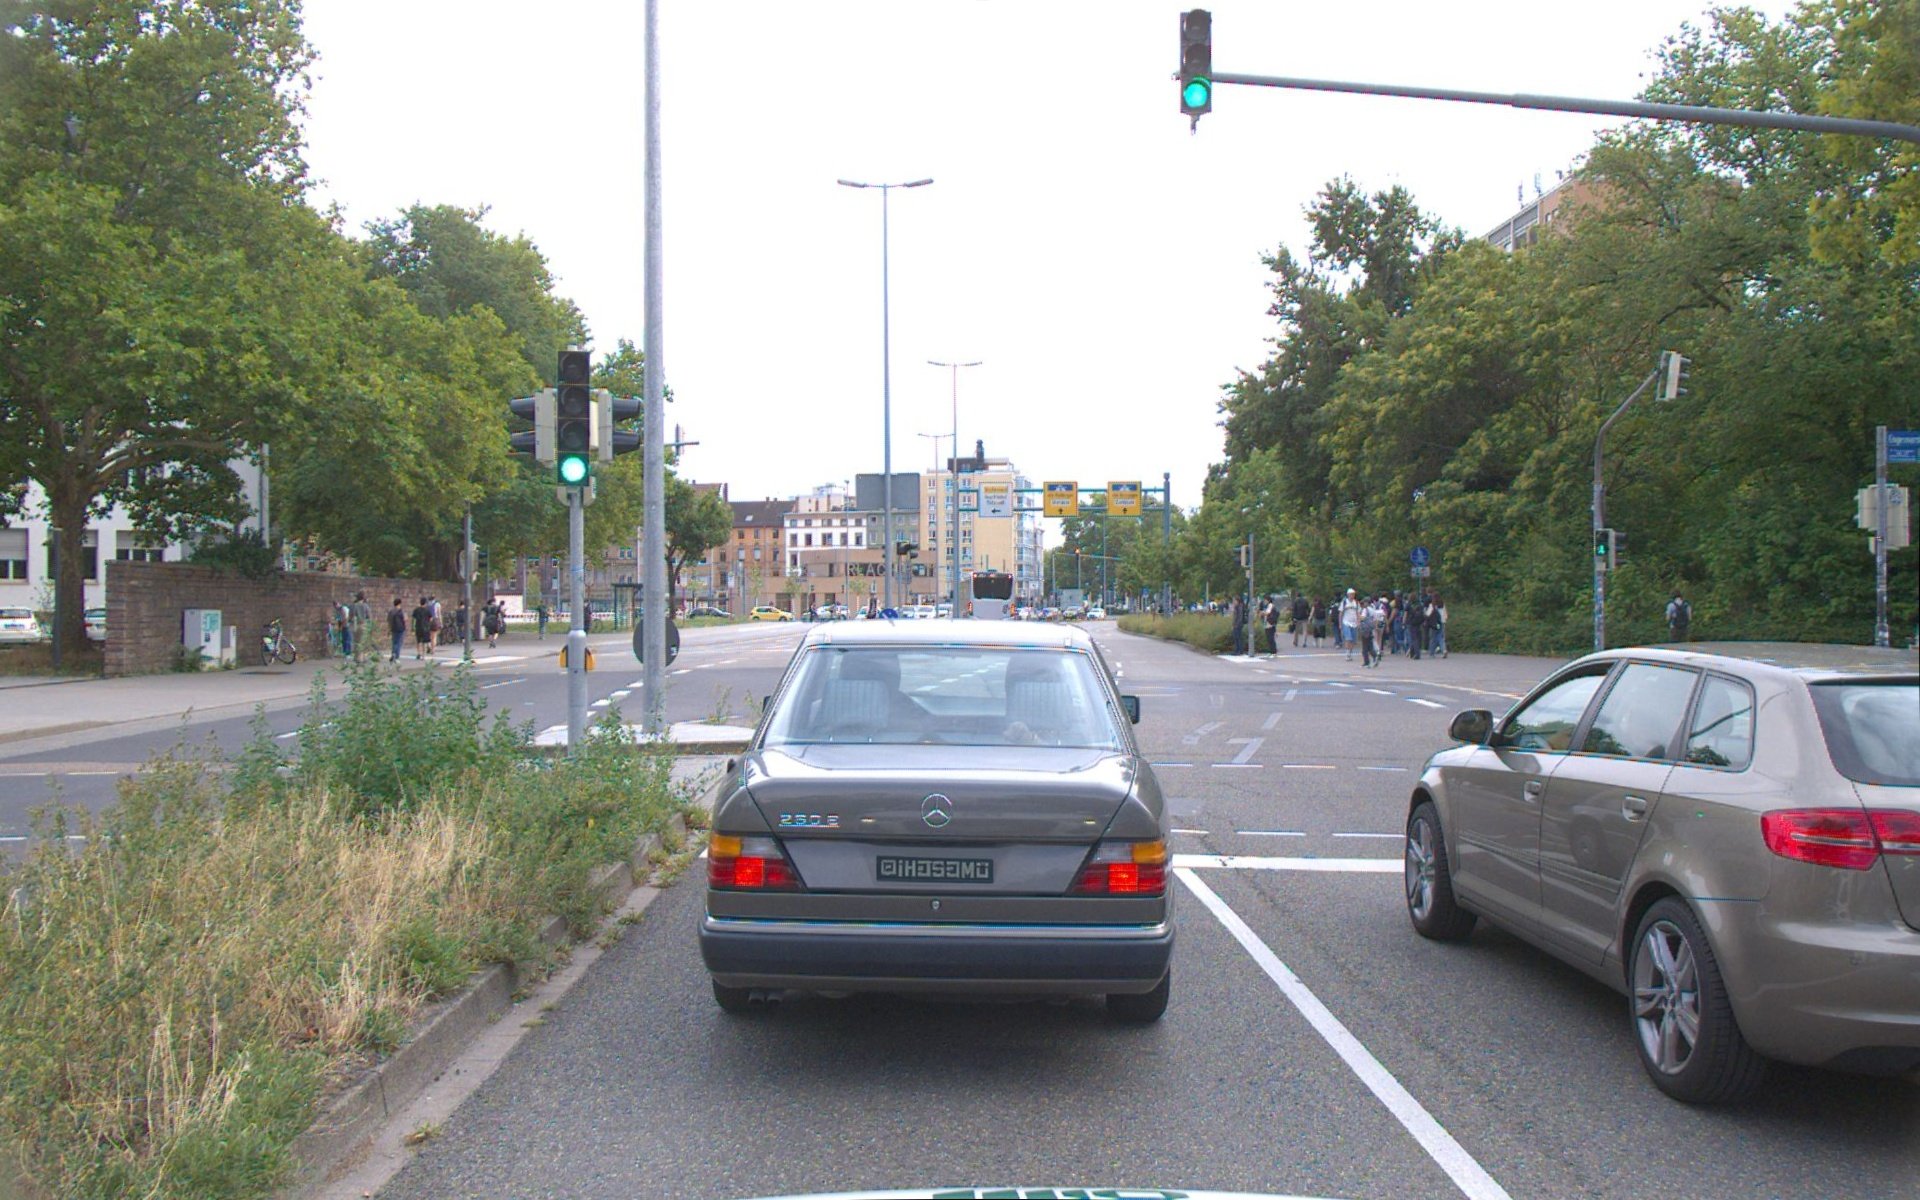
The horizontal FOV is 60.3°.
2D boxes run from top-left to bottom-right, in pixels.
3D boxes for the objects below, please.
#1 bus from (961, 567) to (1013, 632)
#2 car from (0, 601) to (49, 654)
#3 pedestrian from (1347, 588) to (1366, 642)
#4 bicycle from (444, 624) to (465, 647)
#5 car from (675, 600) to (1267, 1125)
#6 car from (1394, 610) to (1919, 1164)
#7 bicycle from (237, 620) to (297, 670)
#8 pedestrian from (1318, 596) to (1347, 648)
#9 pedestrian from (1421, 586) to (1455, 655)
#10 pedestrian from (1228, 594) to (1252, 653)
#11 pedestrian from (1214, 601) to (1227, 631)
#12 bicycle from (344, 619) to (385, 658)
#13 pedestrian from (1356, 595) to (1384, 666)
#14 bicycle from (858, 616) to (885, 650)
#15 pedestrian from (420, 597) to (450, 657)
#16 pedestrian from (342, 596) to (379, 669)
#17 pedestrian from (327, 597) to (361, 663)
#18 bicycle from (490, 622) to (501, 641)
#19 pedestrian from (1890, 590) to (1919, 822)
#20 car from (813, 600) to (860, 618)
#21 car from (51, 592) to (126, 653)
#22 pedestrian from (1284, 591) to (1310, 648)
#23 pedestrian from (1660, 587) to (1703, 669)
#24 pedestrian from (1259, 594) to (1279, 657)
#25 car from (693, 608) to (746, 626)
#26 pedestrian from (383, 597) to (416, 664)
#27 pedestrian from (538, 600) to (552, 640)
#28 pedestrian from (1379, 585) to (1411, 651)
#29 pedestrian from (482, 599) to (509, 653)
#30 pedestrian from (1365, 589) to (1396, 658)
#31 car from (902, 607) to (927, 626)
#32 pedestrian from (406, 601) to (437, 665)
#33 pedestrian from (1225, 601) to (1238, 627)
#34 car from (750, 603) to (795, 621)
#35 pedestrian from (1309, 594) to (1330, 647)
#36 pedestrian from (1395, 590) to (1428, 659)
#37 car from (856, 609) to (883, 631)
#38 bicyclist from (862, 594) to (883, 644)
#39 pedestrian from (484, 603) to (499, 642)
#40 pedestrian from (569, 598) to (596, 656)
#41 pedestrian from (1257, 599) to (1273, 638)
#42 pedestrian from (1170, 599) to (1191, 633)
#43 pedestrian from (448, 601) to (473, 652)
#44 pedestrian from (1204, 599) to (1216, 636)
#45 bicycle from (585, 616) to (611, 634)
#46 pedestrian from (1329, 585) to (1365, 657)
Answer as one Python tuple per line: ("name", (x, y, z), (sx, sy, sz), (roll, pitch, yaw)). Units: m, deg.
("bus", (1.500, -0.023, 91.852), (2.773, 3.450, 8.183), (0, 0, 1))
("car", (-32.910, 0.944, 57.270), (1.891, 1.782, 3.947), (0, 0, -37))
("pedestrian", (13.307, 0.488, 55.485), (0.474, 1.794, 0.664), (-1, -1, 3))
("bicycle", (-19.098, 1.327, 62.477), (0.432, 0.811, 1.618), (2, 0, -7))
("car", (0.003, 0.775, 6.929), (1.725, 1.515, 4.170), (0, 0, -1))
("car", (3.064, 0.789, 6.390), (1.689, 1.483, 3.734), (0, 0, -2))
("bicycle", (-16.930, 1.090, 40.464), (0.566, 1.145, 2.164), (3, 0, -2))
("pedestrian", (11.729, 0.691, 52.059), (0.759, 1.630, 0.812), (-1, -1, 3))
("pedestrian", (12.492, 0.542, 43.248), (0.643, 1.776, 0.780), (-1, -1, 1))
("pedestrian", (8.347, 0.695, 49.295), (0.589, 1.765, 0.654), (0, -1, 0))
("pedestrian", (15.582, 0.959, 98.916), (0.633, 1.743, 0.562), (-1, -1, 18))
("bicycle", (-17.544, 1.132, 48.762), (0.538, 1.077, 1.979), (3, 0, -4))
("pedestrian", (10.002, 0.737, 40.370), (0.534, 1.716, 0.637), (0, -1, 0))
("bicycle", (-2.841, 1.063, 53.337), (0.561, 1.074, 1.927), (0, 0, 6))
("pedestrian", (-16.063, 0.847, 50.639), (0.749, 1.814, 0.907), (1, -2, -26))
("pedestrian", (-15.167, 0.825, 41.841), (0.737, 1.814, 0.776), (1, -2, -30))
("pedestrian", (-17.220, 0.851, 46.254), (0.737, 1.814, 0.775), (1, -2, -32))
("bicycle", (-21.043, 1.409, 74.963), (0.433, 0.842, 1.614), (2, -1, -14))
("pedestrian", (7.913, 0.843, 13.229), (0.561, 1.849, 0.682), (0, -1, 3))
("car", (-11.514, 0.860, 154.756), (4.101, 1.678, 1.634), (-1, -1, -25))
("car", (-30.668, 0.768, 58.123), (1.767, 2.049, 3.948), (0, 0, -37))
("pedestrian", (11.107, 0.630, 54.529), (0.678, 1.853, 0.954), (-1, -1, 3))
("pedestrian", (16.238, 0.622, 37.245), (0.631, 1.827, 0.740), (0, -1, 0))
("pedestrian", (8.724, 0.716, 46.770), (0.444, 1.765, 0.637), (0, -1, 0))
("car", (-21.485, 1.494, 147.895), (4.575, 1.501, 1.659), (1, 0, -2))
("pedestrian", (-15.264, 0.838, 45.054), (0.750, 1.814, 0.777), (1, -2, -27))
("pedestrian", (-17.748, 0.872, 70.709), (0.550, 1.697, 0.624), (0, -2, -14))
("pedestrian", (11.800, 0.480, 44.855), (0.643, 1.776, 0.780), (-1, -1, 1))
("pedestrian", (-15.952, 0.894, 56.821), (0.749, 1.814, 0.916), (1, -2, -26))
("pedestrian", (11.008, 0.612, 43.325), (0.611, 1.776, 0.780), (-1, -1, 1))
("car", (-3.725, 1.343, 135.949), (1.764, 1.515, 4.289), (0, 0, 1))
("pedestrian", (-15.364, 0.950, 47.162), (0.749, 1.814, 0.777), (1, -2, -26))
("pedestrian", (15.649, 0.806, 95.255), (0.644, 1.496, 0.561), (0, 0, -2))
("car", (-16.757, 1.107, 147.931), (3.779, 1.544, 1.659), (1, 0, -2))
("pedestrian", (11.629, 0.653, 53.520), (0.544, 1.684, 0.754), (-1, -1, 3))
("pedestrian", (11.809, 0.646, 43.273), (0.643, 1.776, 0.780), (-1, -1, 1))
("car", (-6.425, 1.388, 117.770), (1.725, 1.515, 4.545), (0, 0, 0))
("bicyclist", (-2.809, 0.599, 53.409), (0.560, 1.601, 0.700), (0, 0, 7))
("pedestrian", (-20.010, 0.958, 70.628), (0.577, 1.620, 0.731), (0, -2, -20))
("pedestrian", (-11.846, 0.861, 51.893), (0.748, 1.814, 0.717), (1, -2, -21))
("pedestrian", (13.457, 0.830, 72.923), (0.575, 1.712, 0.748), (-1, -1, 3))
("pedestrian", (12.178, 0.883, 91.329), (0.916, 1.862, 0.885), (-1, -1, 30))
("pedestrian", (-17.882, 0.947, 59.165), (0.749, 1.814, 0.777), (1, -2, -26))
("pedestrian", (13.935, 0.963, 92.322), (0.601, 2.049, 0.597), (0, -1, 1))
("bicycle", (-18.733, 1.290, 85.611), (0.460, 0.935, 2.341), (-1, -1, 10))
("pedestrian", (10.284, 0.566, 43.952), (0.633, 1.885, 0.827), (1, -1, -12))
